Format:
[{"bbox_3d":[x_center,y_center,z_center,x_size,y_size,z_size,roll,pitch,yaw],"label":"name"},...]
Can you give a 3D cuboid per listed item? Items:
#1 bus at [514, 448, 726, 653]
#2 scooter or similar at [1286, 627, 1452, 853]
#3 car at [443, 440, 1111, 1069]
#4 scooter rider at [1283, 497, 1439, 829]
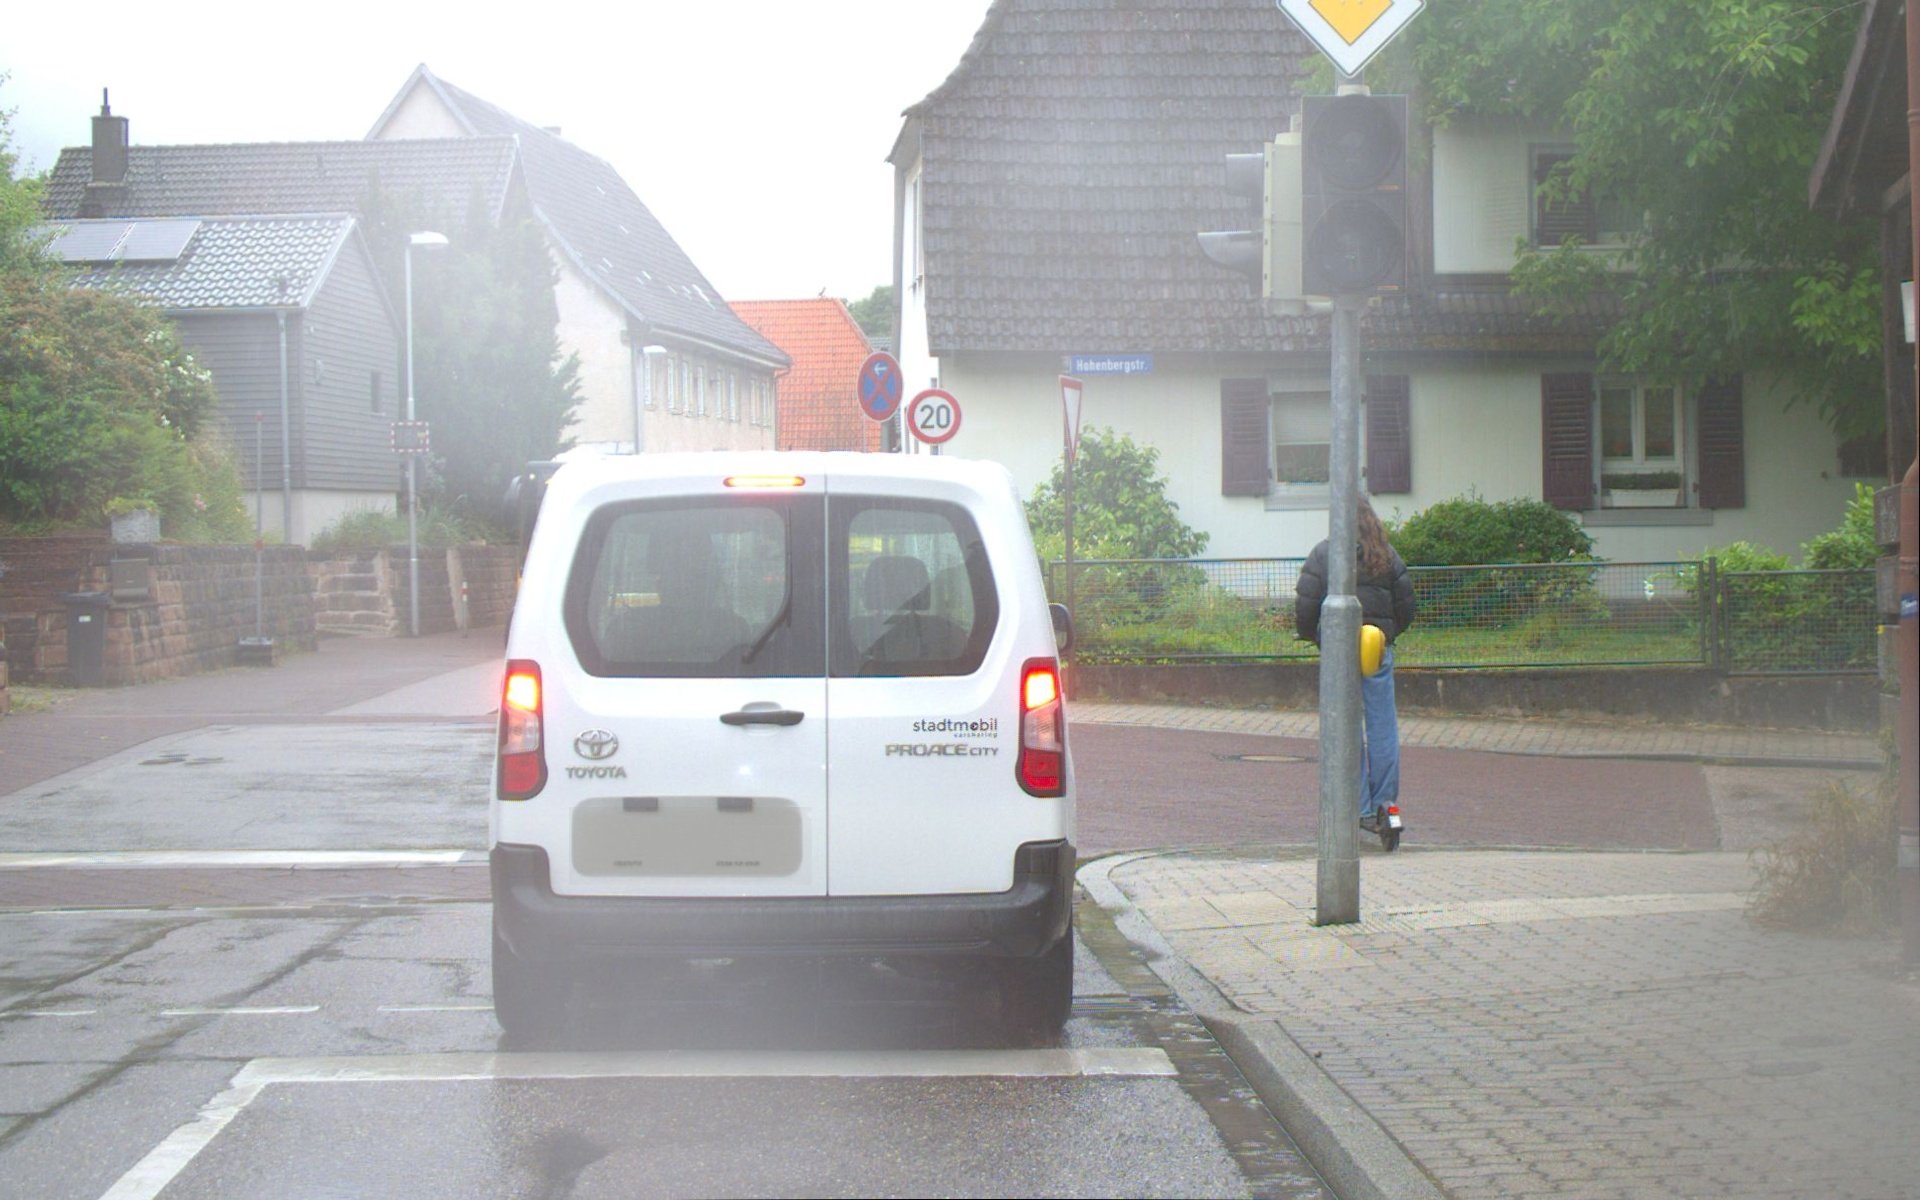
[{"bbox_3d":[-5.373,-0.996,56.260,2.649,2.989,12.195,0,3,-2],"label":"bus"},{"bbox_3d":[2.132,0.712,18.074,0.620,1.123,1.402,0,0,-3],"label":"scooter or similar"},{"bbox_3d":[-0.611,0.410,11.754,1.894,1.787,3.814,1,1,-3],"label":"car"},{"bbox_3d":[2.119,0.326,18.202,0.731,1.727,0.518,0,0,-3],"label":"scooter rider"}]
